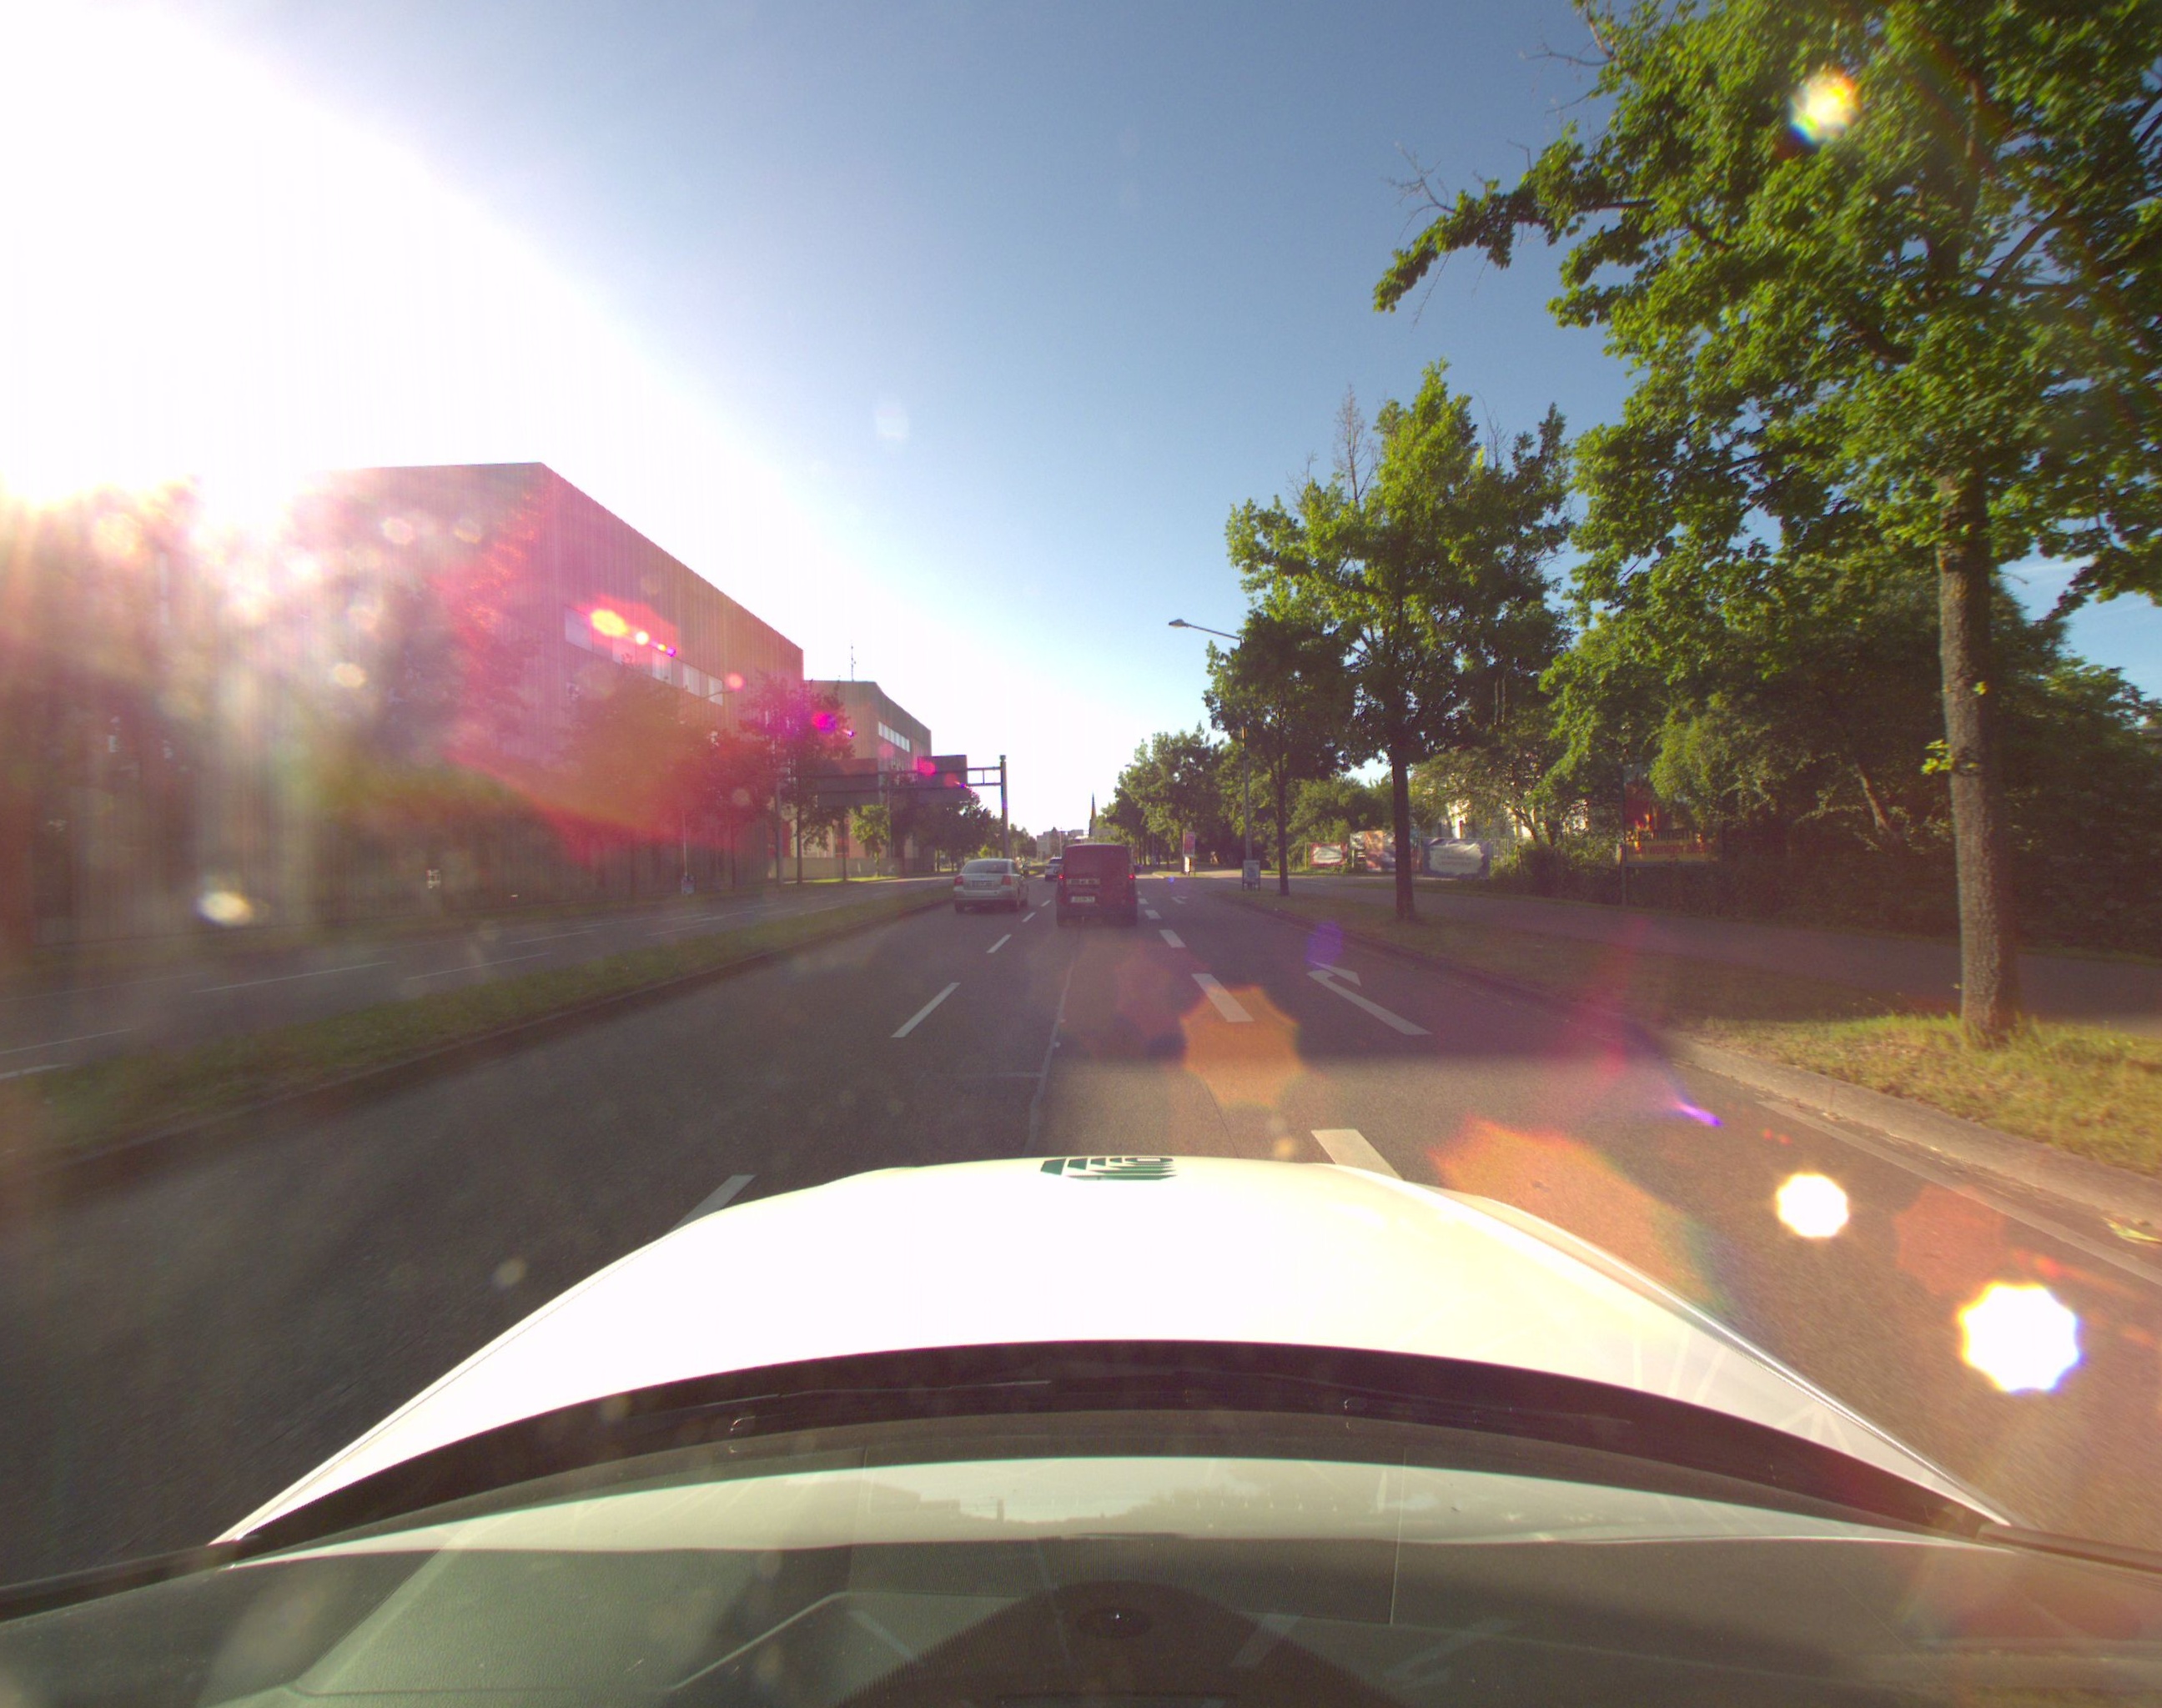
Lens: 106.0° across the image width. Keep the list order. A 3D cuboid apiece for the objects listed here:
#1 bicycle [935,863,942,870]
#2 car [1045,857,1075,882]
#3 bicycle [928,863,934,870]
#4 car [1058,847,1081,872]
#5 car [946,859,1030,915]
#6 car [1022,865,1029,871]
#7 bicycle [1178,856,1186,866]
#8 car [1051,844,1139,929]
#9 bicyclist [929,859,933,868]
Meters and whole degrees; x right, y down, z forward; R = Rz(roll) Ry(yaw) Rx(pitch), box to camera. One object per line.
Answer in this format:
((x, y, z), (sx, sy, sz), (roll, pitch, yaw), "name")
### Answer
((-22.049, 1.908, 126.123), (0.568, 1.003, 2.096), (-2, -1, 0), "bicycle")
((-1.227, 0.921, 49.747), (1.656, 1.398, 3.559), (-2, 0, 1), "car")
((-23.219, 1.929, 126.321), (0.485, 1.003, 2.096), (-2, -1, 0), "bicycle")
((-0.848, 0.447, 63.553), (1.656, 1.856, 3.559), (-2, 0, 1), "car")
((-2.563, 0.884, 23.454), (1.834, 1.456, 4.163), (-1, 0, 1), "car")
((-13.137, 3.279, 193.851), (1.441, 1.436, 3.458), (-2, 0, 0), "car")
((11.724, 0.782, 94.606), (0.769, 1.131, 1.713), (-2, 0, 9), "bicycle")
((0.316, 0.685, 18.947), (1.800, 1.759, 4.006), (-1, 0, 1), "car")
((-23.234, 1.499, 126.391), (0.480, 1.395, 0.844), (-2, -1, 0), "bicyclist")
